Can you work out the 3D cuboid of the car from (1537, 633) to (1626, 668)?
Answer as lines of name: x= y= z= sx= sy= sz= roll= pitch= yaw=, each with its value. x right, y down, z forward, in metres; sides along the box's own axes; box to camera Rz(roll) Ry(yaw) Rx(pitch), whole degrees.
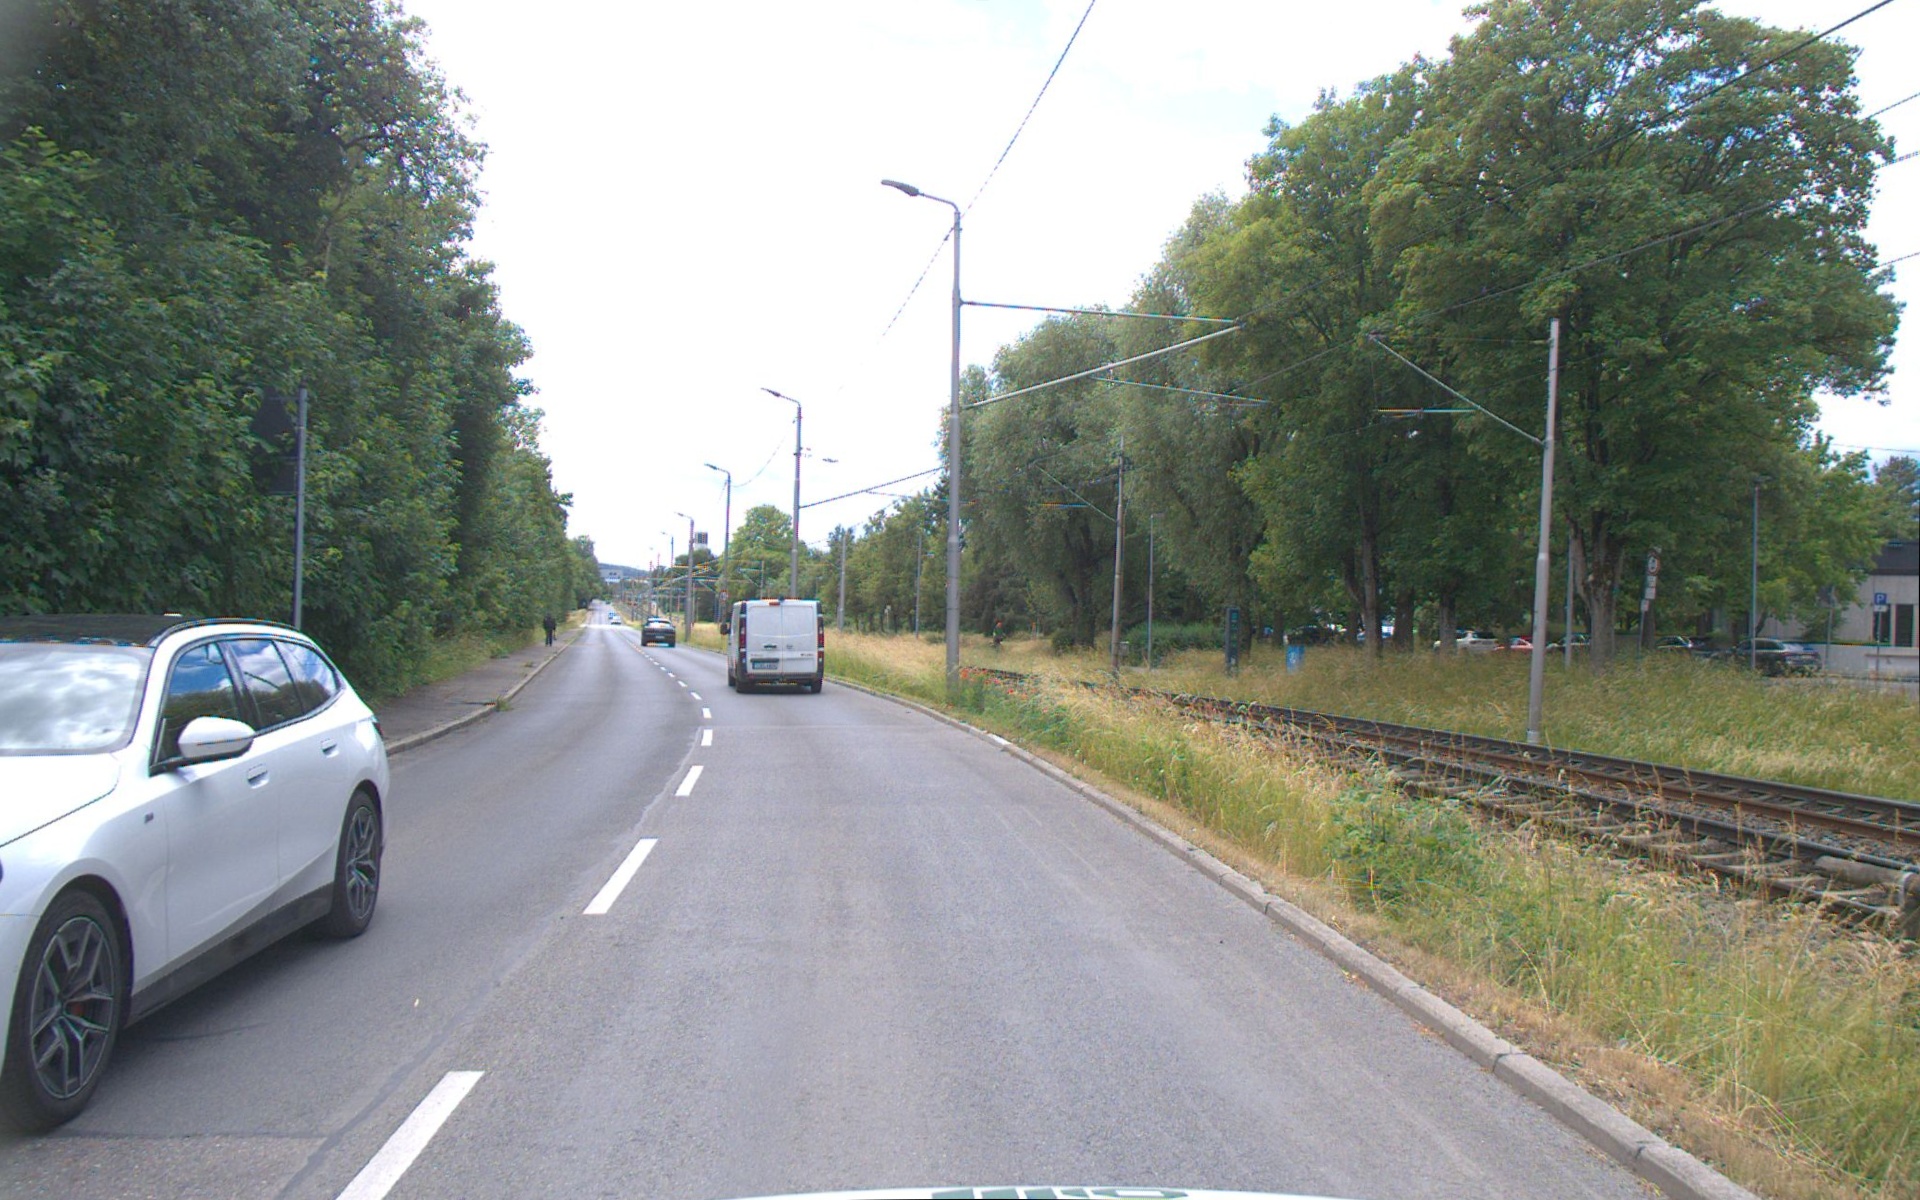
car: x=28.277 y=2.266 z=75.328 sx=1.959 sy=1.468 sz=3.987 roll=2 pitch=-1 yaw=-12

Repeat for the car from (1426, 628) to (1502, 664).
car: x=26.122 y=2.366 z=85.792 sx=1.958 sy=1.730 sz=4.216 roll=3 pitch=-1 yaw=-12

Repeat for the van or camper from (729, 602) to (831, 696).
van or camper: x=-4.002 y=1.057 z=36.281 sx=1.907 sy=1.930 sz=4.273 roll=0 pitch=-1 yaw=-11

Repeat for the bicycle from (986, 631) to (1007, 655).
bicycle: x=1.991 y=2.338 z=90.648 sx=0.571 sy=1.268 sz=1.921 roll=2 pitch=-1 yaw=-16

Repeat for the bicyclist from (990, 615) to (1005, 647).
bicyclist: x=2.054 y=1.711 z=90.482 sx=0.571 sy=1.726 sz=0.931 roll=2 pitch=-1 yaw=-16

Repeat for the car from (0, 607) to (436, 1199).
car: x=-3.581 y=0.835 z=6.432 sx=1.892 sy=1.549 sz=4.654 roll=-1 pitch=-1 yaw=-4

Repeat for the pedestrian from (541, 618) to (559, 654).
pedestrian: x=-20.759 y=1.800 z=83.740 sx=0.854 sy=1.801 sz=0.786 roll=-1 pitch=0 yaw=-16

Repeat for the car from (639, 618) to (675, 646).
car: x=-17.883 y=1.878 z=97.556 sx=1.959 sy=1.621 sz=3.987 roll=1 pitch=-1 yaw=-13

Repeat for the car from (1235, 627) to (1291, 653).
car: x=23.131 y=3.071 z=126.306 sx=1.979 sy=1.844 sz=3.946 roll=2 pitch=-1 yaw=-37

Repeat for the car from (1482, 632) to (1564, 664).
car: x=27.276 y=2.305 z=80.249 sx=1.959 sy=1.468 sz=3.987 roll=2 pitch=-1 yaw=-12

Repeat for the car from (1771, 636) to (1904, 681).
car: x=31.733 y=2.093 z=59.969 sx=1.959 sy=1.468 sz=4.332 roll=2 pitch=-1 yaw=-12

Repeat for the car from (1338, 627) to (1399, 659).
car: x=23.794 y=2.512 z=96.516 sx=1.957 sy=1.730 sz=3.990 roll=3 pitch=-1 yaw=-10
